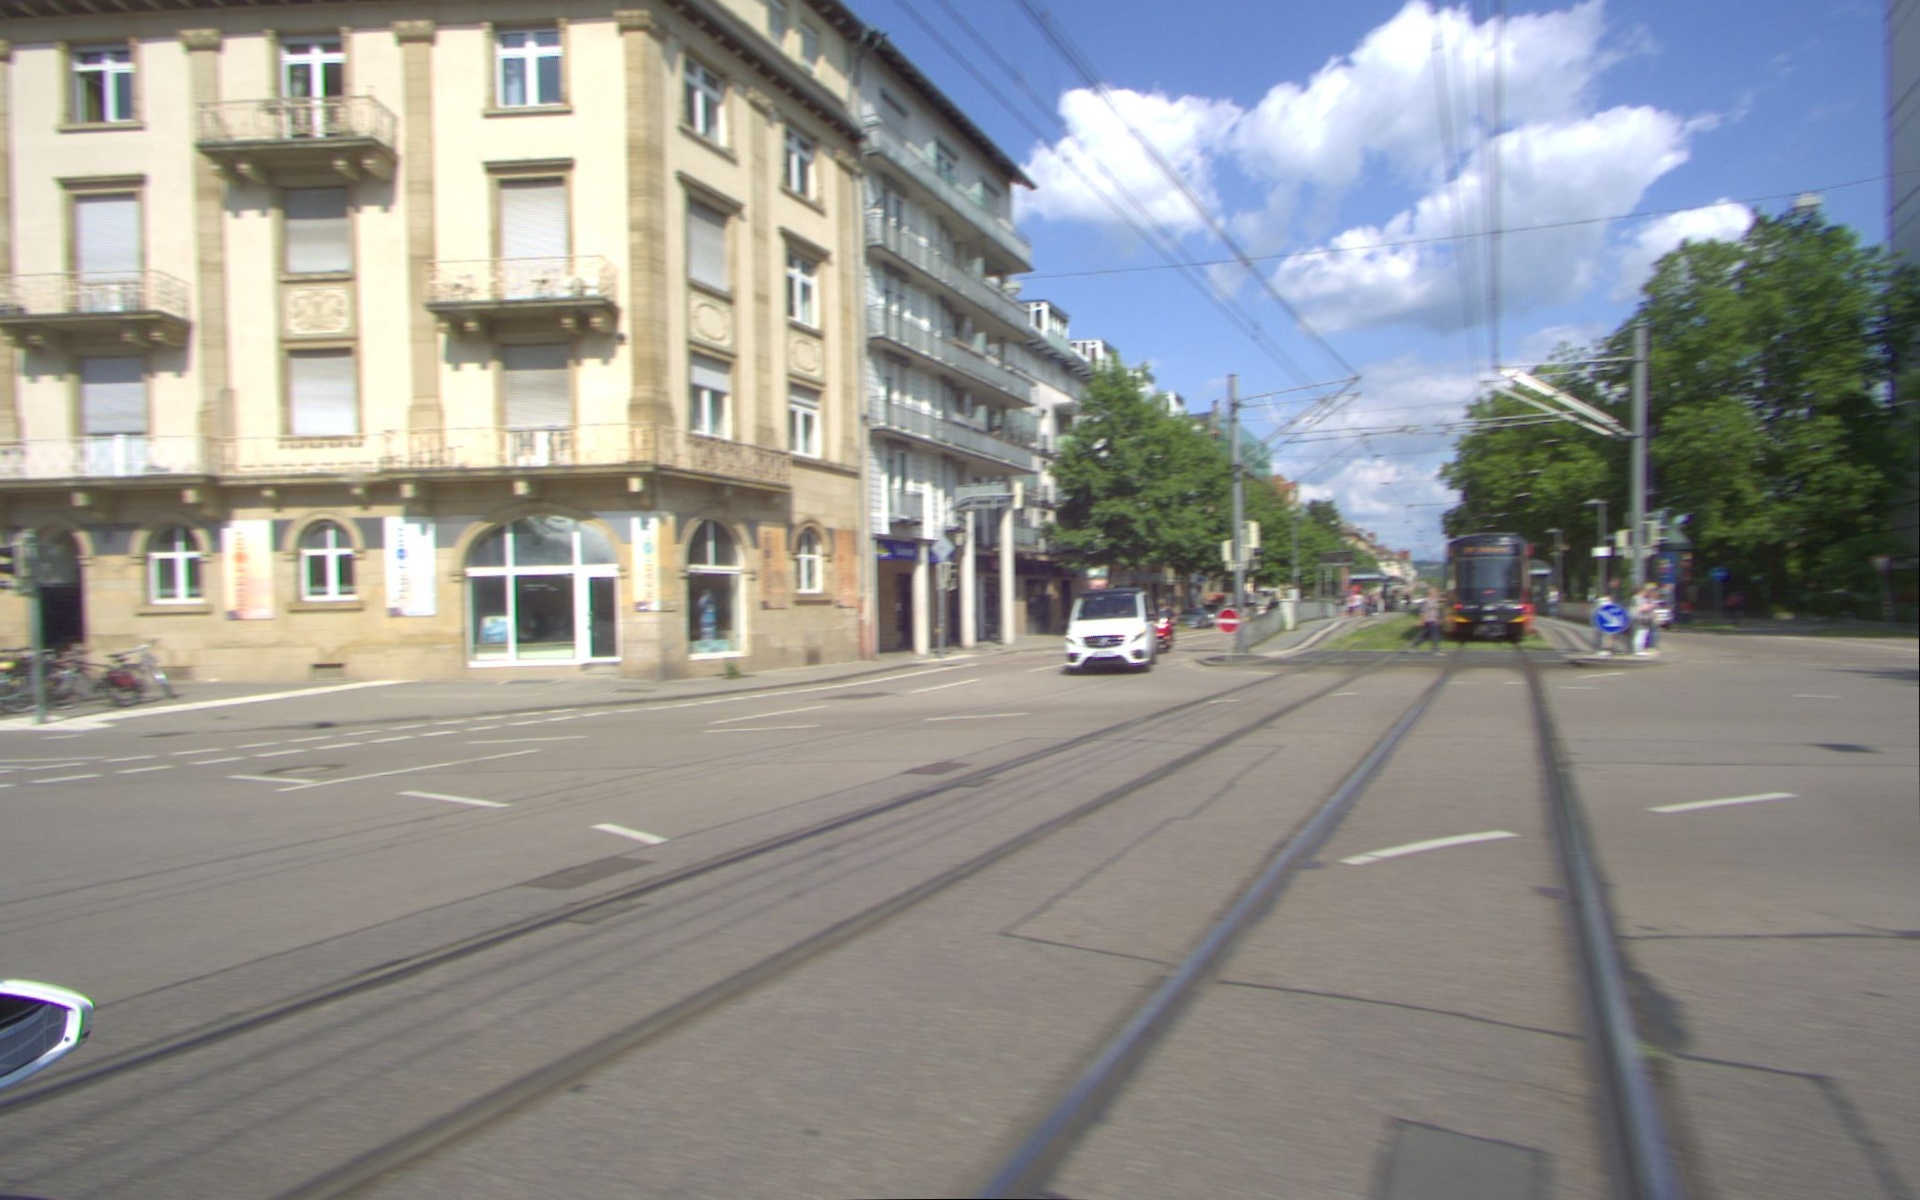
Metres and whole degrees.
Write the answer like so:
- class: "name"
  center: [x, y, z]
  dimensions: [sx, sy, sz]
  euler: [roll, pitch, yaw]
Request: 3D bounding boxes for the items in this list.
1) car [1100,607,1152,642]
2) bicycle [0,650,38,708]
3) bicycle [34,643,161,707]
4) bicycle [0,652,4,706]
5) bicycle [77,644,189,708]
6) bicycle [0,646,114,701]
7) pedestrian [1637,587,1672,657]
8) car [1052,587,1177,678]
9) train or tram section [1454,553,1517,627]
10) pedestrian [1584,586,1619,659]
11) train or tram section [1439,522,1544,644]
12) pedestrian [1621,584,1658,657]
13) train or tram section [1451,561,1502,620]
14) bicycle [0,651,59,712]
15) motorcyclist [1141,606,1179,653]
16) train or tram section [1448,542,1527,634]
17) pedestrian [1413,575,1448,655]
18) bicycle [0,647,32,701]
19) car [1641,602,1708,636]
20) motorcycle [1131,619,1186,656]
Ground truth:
- class: "car"
  center: [9.414, 1.345, 56.451]
  dimensions: [1.822, 1.813, 3.986]
  euler: [2, 1, 26]
- class: "bicycle"
  center: [-18.339, 1.516, 18.479]
  dimensions: [0.530, 1.032, 1.925]
  euler: [0, 2, 15]
- class: "bicycle"
  center: [-16.721, 1.427, 19.472]
  dimensions: [0.598, 1.032, 1.875]
  euler: [0, 2, 11]
- class: "bicycle"
  center: [-18.928, 1.551, 18.404]
  dimensions: [0.530, 1.032, 1.925]
  euler: [0, 2, 15]
- class: "bicycle"
  center: [-15.953, 1.447, 19.376]
  dimensions: [0.598, 1.032, 1.876]
  euler: [-1, 2, -1]
- class: "bicycle"
  center: [-18.162, 1.478, 20.147]
  dimensions: [1.891, 1.033, 0.540]
  euler: [-1, 3, 5]
- class: "pedestrian"
  center: [17.513, 0.551, 25.266]
  dimensions: [0.661, 1.725, 0.645]
  euler: [-1, 1, 29]
- class: "car"
  center: [3.873, 0.718, 24.283]
  dimensions: [1.966, 1.916, 5.160]
  euler: [-3, -1, 20]
- class: "train or tram section"
  center: [29.164, -0.494, 55.520]
  dimensions: [2.772, 3.608, 12.105]
  euler: [-1, 0, 28]
- class: "pedestrian"
  center: [15.569, 0.538, 24.330]
  dimensions: [0.661, 1.725, 0.645]
  euler: [-1, 1, 29]
- class: "train or tram section"
  center: [18.576, -0.500, 35.239]
  dimensions: [2.761, 3.608, 11.331]
  euler: [-1, 0, 27]
- class: "pedestrian"
  center: [16.227, 0.486, 23.907]
  dimensions: [0.661, 1.725, 0.645]
  euler: [-1, 1, 29]
- class: "train or tram section"
  center: [33.573, -0.582, 65.095]
  dimensions: [2.732, 3.529, 8.871]
  euler: [-1, 0, 27]
- class: "bicycle"
  center: [-17.647, 1.515, 18.134]
  dimensions: [0.593, 1.032, 1.868]
  euler: [0, 2, 27]
- class: "motorcyclist"
  center: [6.209, 0.916, 31.112]
  dimensions: [0.882, 1.422, 1.083]
  euler: [-1, 0, 27]
- class: "train or tram section"
  center: [23.779, -0.461, 45.228]
  dimensions: [2.771, 3.608, 11.135]
  euler: [-1, 0, 28]
- class: "pedestrian"
  center: [12.265, 0.380, 26.083]
  dimensions: [0.730, 2.040, 0.700]
  euler: [0, 1, 32]
- class: "bicycle"
  center: [-19.430, 1.515, 19.663]
  dimensions: [0.530, 1.032, 1.927]
  euler: [-1, 2, 1]
- class: "car"
  center: [33.363, 0.844, 46.850]
  dimensions: [1.706, 1.504, 3.663]
  euler: [-1, 0, 21]
- class: "motorcycle"
  center: [6.195, 1.123, 31.068]
  dimensions: [0.882, 1.036, 3.089]
  euler: [-1, 0, 27]
